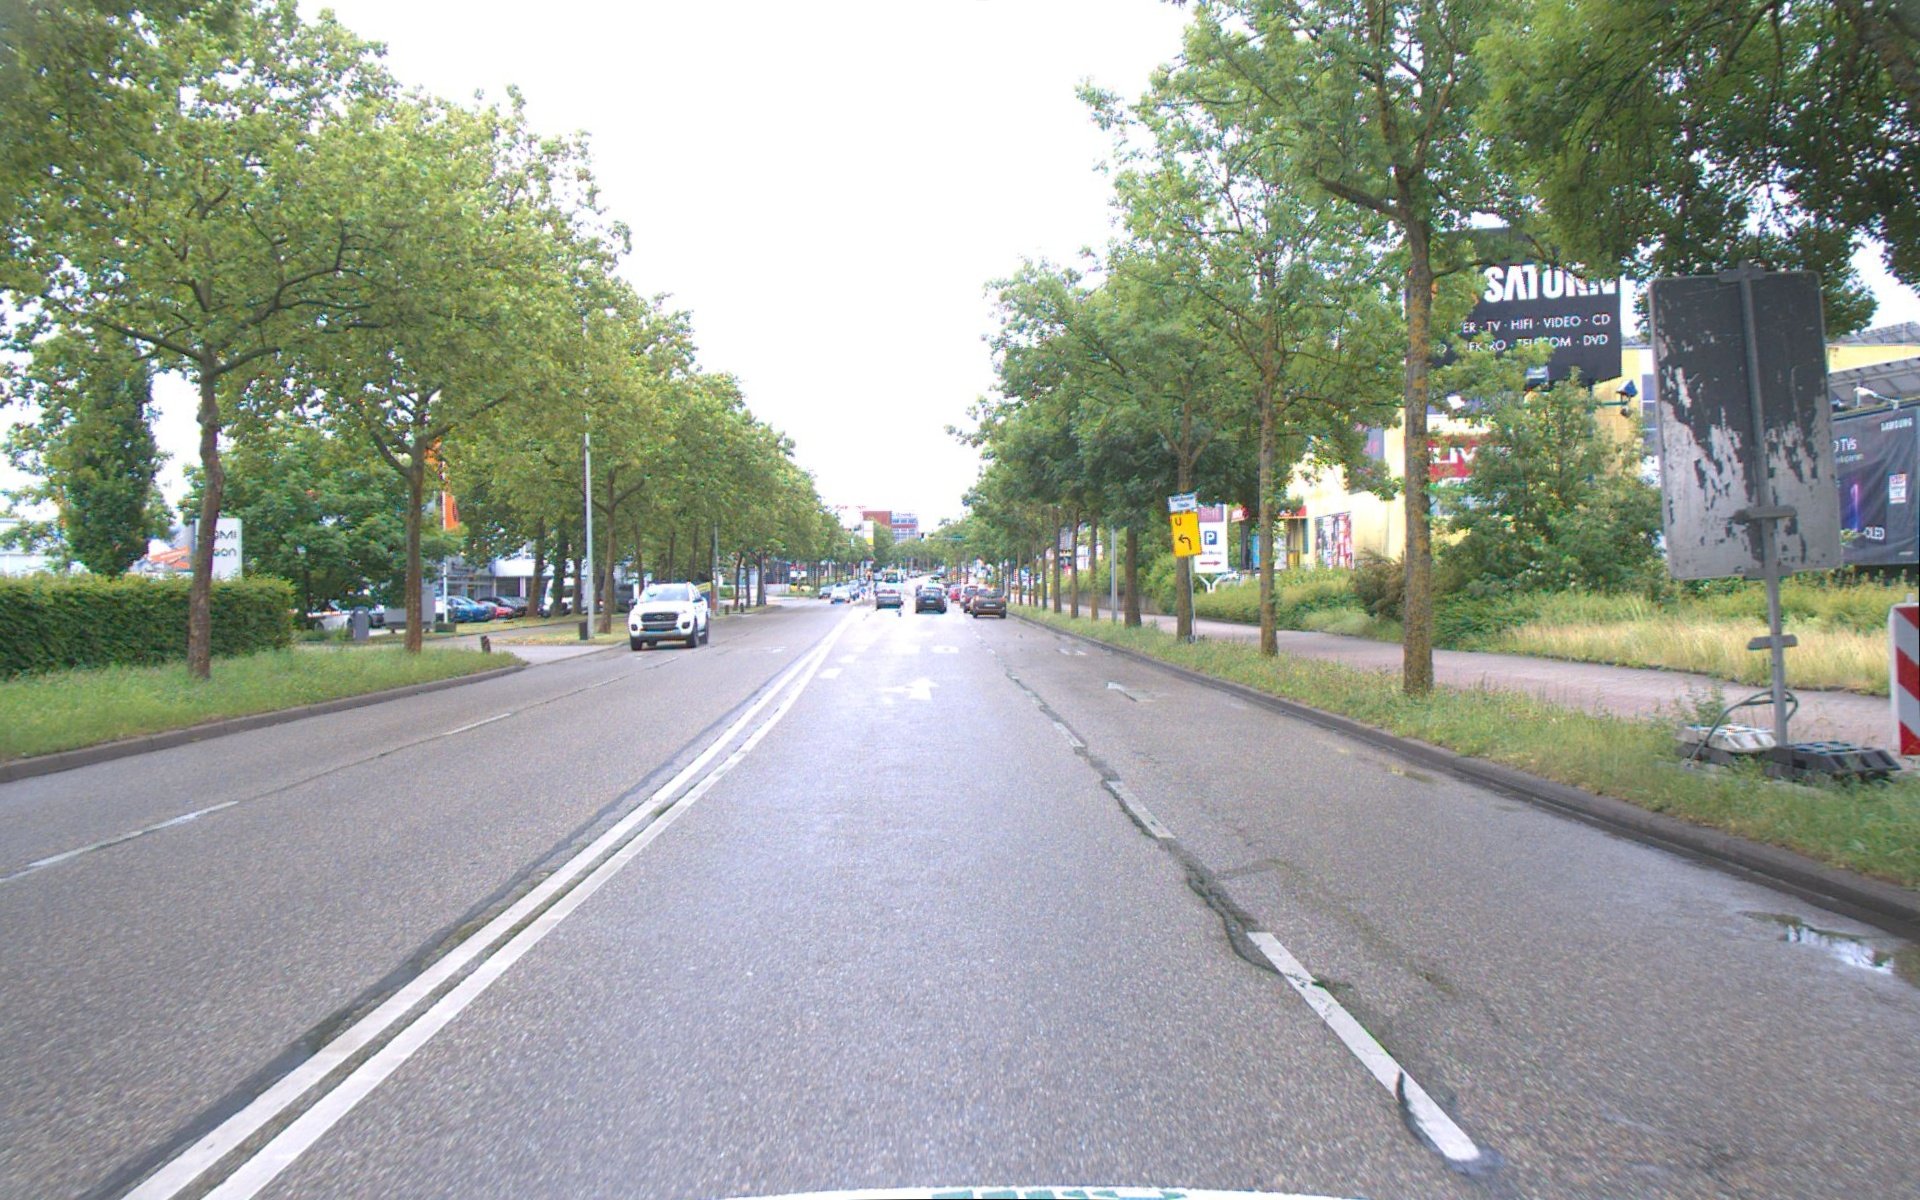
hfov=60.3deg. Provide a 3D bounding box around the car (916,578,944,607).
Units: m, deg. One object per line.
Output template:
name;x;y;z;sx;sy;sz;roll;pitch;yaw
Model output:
car;-2.182;-0.517;119.849;1.953;2.049;3.999;1;0;-2

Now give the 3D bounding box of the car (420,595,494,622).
car;-30.416;0.525;100.051;3.902;1.547;1.867;-1;0;13

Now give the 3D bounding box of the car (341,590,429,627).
car;-29.574;0.436;85.139;3.908;1.797;1.881;-1;0;-4

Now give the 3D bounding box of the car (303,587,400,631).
car;-29.060;0.413;79.046;3.908;2.049;1.881;-1;0;-4

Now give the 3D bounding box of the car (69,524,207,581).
car;-29.361;-1.681;59.133;3.906;1.922;1.963;-1;0;-1

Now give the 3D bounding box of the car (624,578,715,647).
car;-8.379;0.323;48.092;1.873;1.837;5.338;-2;1;-3

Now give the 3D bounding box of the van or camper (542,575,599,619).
van or camper;-23.129;-0.174;98.335;1.953;2.513;6.400;1;0;-1

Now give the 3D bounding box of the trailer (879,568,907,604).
trailer;-5.733;-1.168;141.610;2.325;2.947;5.543;-1;0;-3

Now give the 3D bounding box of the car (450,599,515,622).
car;-32.545;0.746;112.775;3.901;1.493;1.601;-1;0;11

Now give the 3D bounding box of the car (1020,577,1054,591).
car;9.403;-2.009;201.961;1.896;1.604;4.266;-1;1;39

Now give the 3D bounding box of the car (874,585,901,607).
car;-5.534;-0.338;126.621;1.868;1.606;4.879;-1;0;-1

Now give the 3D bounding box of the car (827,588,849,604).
car;-11.655;-0.366;157.702;1.955;1.454;4.679;-2;0;-6

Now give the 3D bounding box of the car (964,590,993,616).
car;1.226;0.207;109.322;1.764;1.614;4.450;1;1;-1

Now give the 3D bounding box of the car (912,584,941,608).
car;-2.105;-0.263;103.484;1.746;1.422;3.999;0;1;-2

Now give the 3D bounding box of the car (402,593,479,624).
car;-30.605;0.497;97.436;3.902;1.797;1.867;-1;0;14

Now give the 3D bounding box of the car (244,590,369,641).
car;-20.932;0.460;53.214;2.075;1.522;5.244;-1;0;-2

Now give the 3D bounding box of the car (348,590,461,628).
car;-29.758;0.461;88.770;5.270;1.936;2.413;-1;0;-5

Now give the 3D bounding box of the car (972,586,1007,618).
car;1.580;0.084;90.086;1.691;1.652;4.470;-1;0;-1
